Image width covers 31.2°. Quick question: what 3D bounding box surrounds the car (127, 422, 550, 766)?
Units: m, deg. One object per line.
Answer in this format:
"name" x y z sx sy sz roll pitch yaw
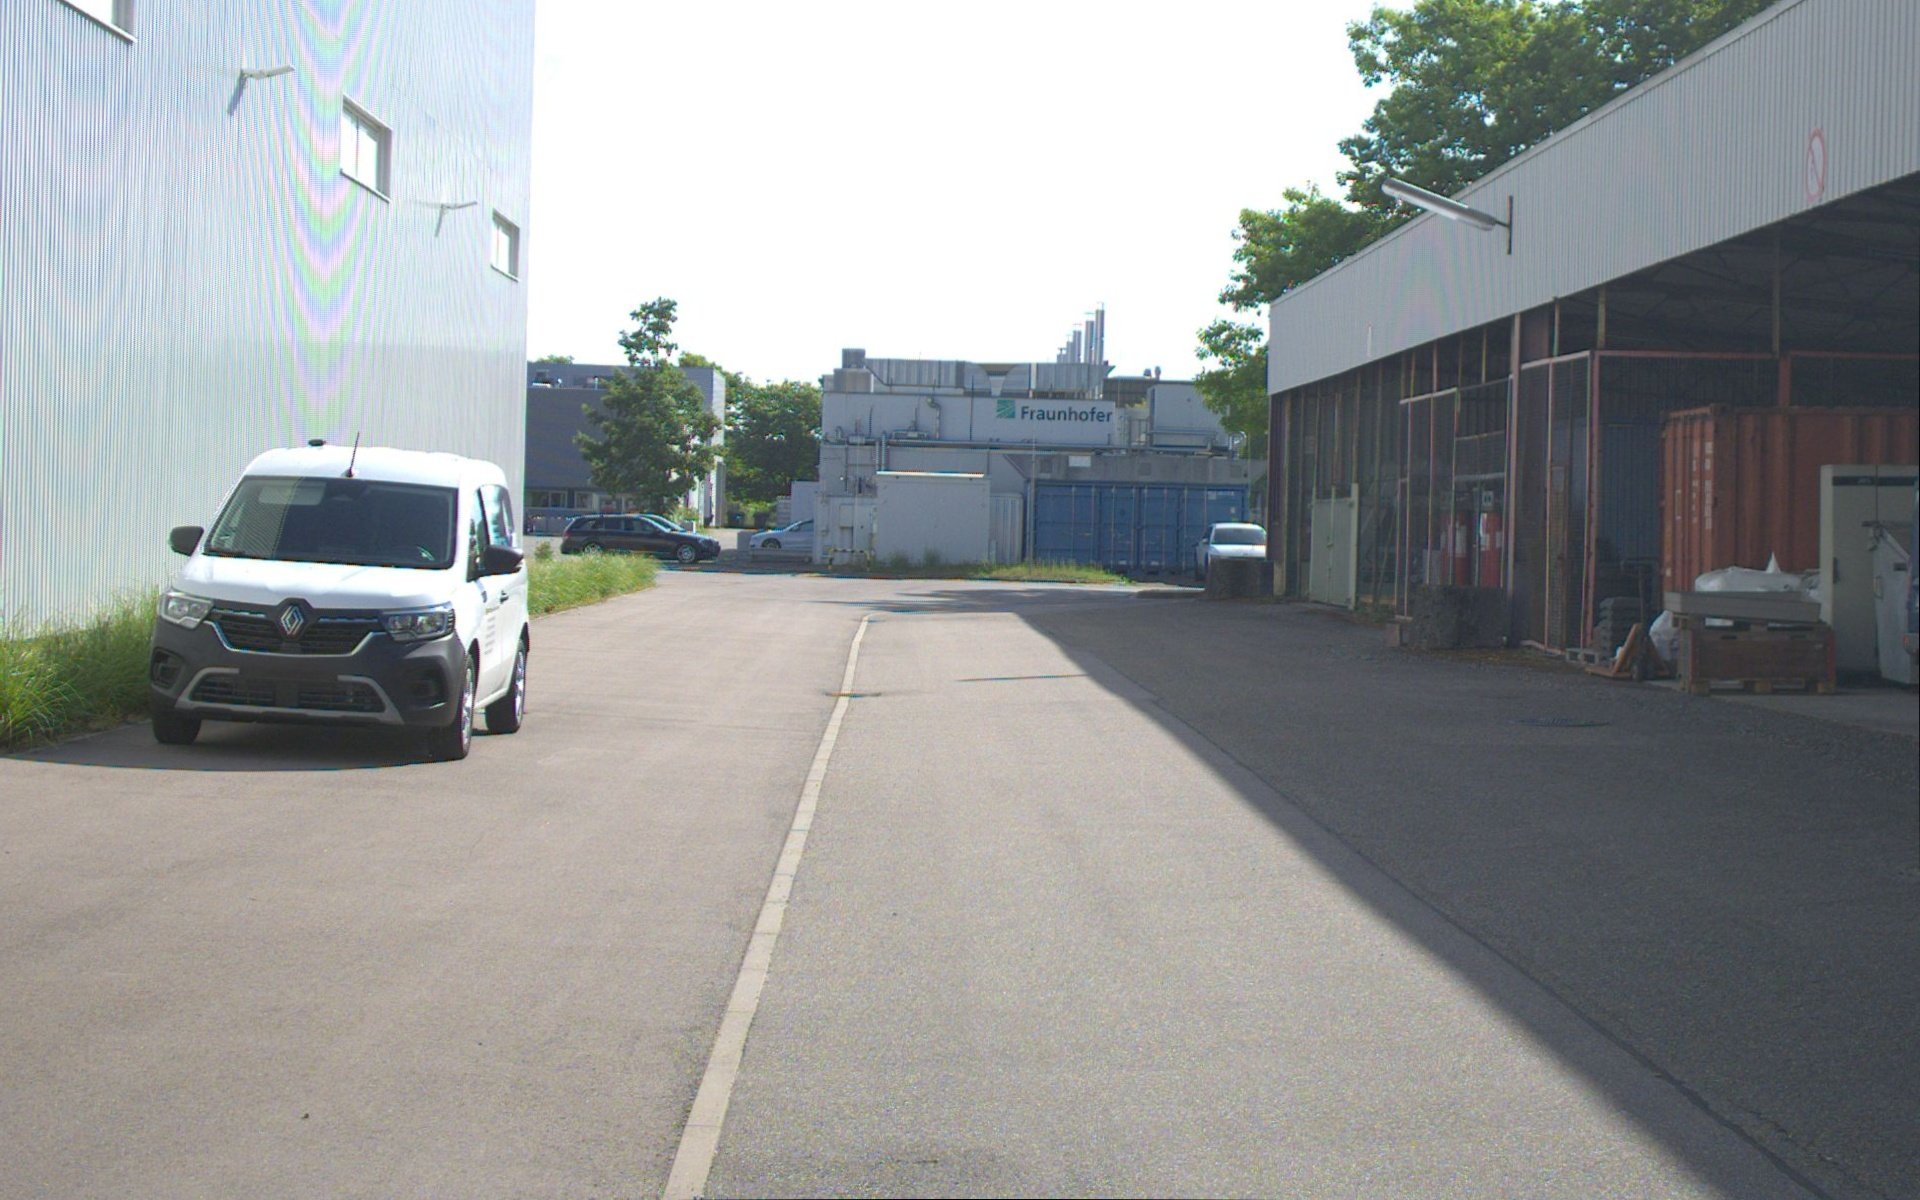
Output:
"car" -3.701 -0.070 21.258 1.783 1.809 4.602 3 1 -1

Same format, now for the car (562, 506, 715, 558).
"car" -9.625 -2.041 103.143 4.447 1.525 1.824 0 1 -1

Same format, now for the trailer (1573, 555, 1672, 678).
"trailer" 6.213 0.142 32.290 0.551 1.114 1.547 0 1 -3

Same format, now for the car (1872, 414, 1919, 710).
"car" 10.036 -0.251 26.595 5.332 2.273 2.153 1 1 -1

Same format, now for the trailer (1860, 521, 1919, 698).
"trailer" 8.860 0.066 29.204 2.038 1.461 1.738 0 1 3

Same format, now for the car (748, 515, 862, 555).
"car" -5.904 -2.472 131.076 4.302 1.452 1.824 0 1 -1

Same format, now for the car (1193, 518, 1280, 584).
"car" 7.271 -1.319 90.862 1.979 1.597 4.378 0 3 1
